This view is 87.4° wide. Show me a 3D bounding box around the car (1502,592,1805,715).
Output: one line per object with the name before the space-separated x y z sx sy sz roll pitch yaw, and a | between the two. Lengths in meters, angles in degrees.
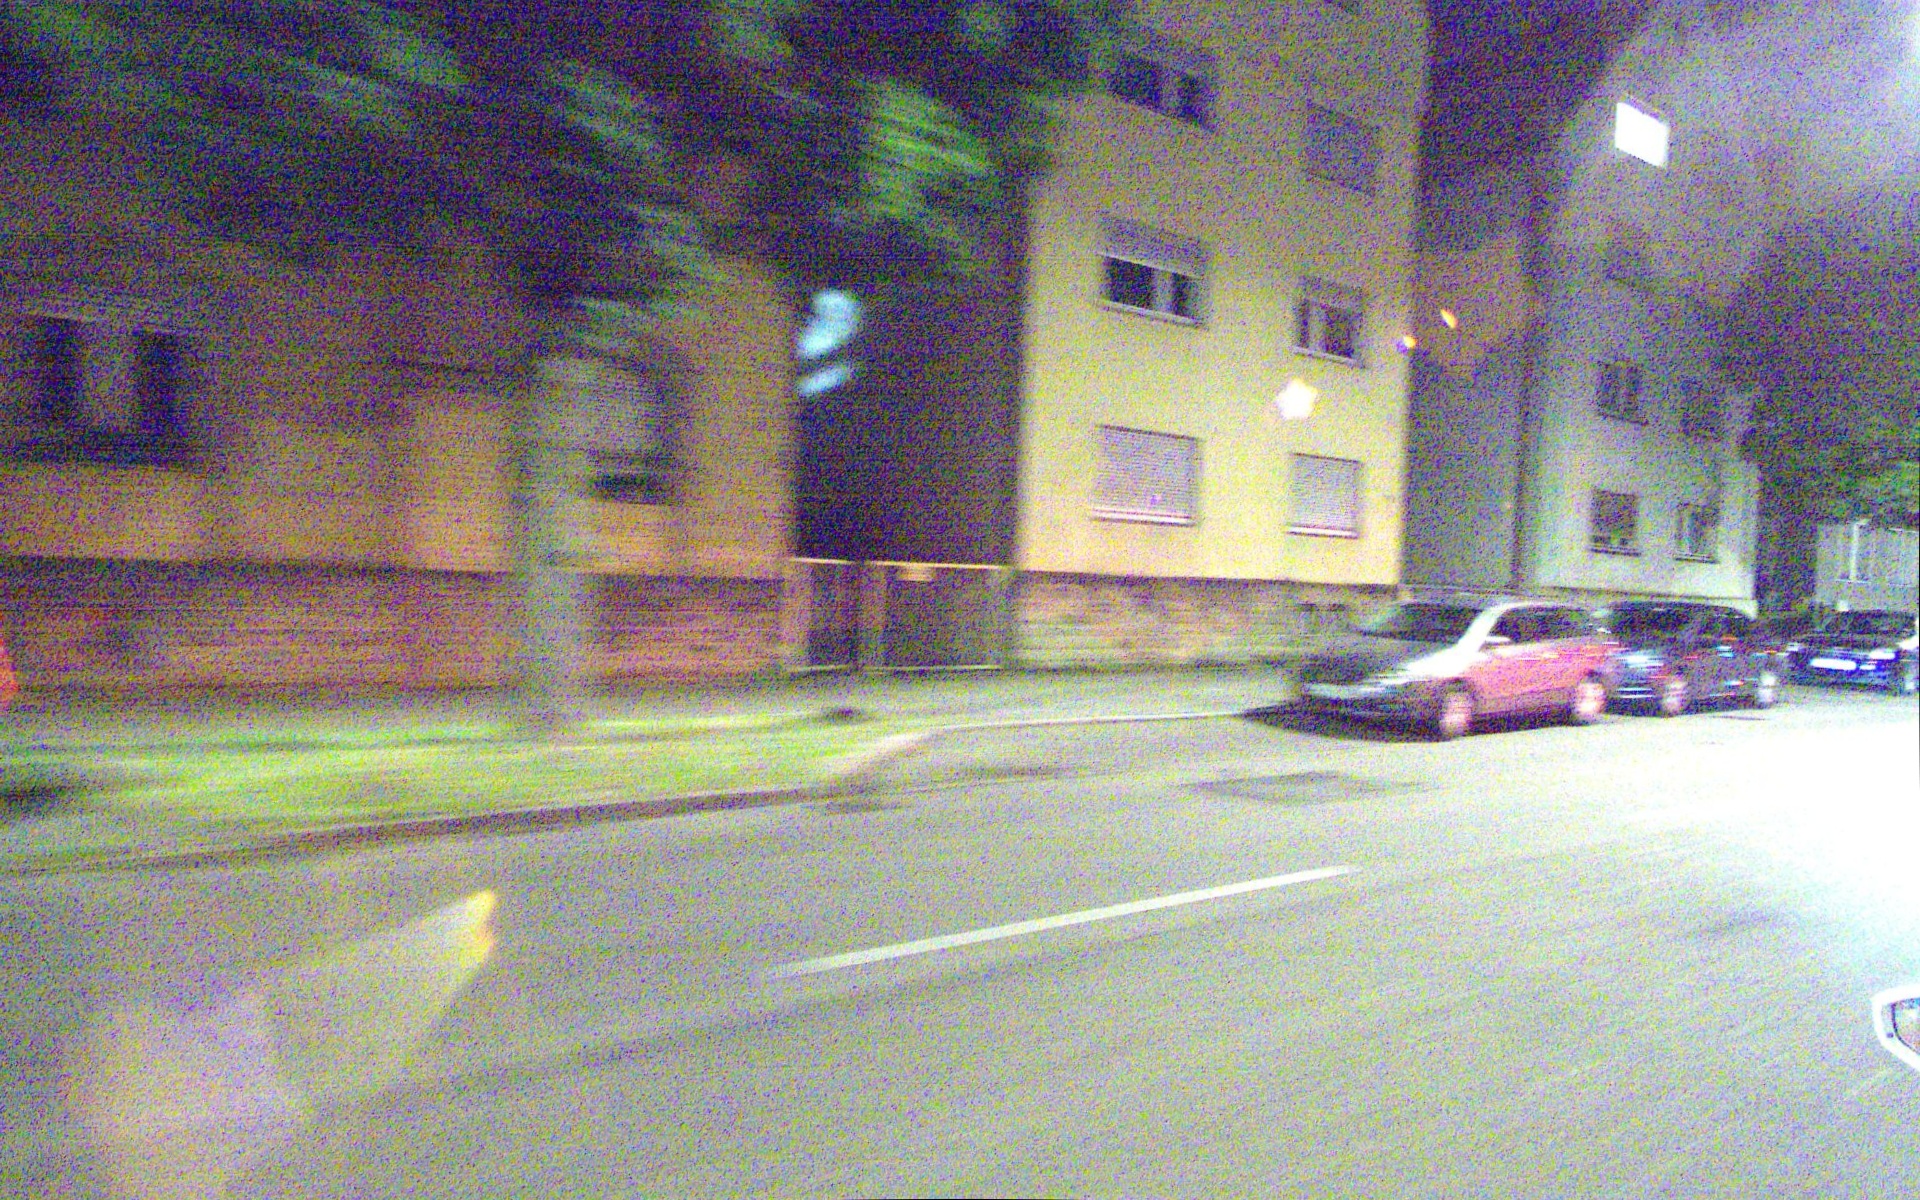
car | 10.046 0.702 14.449 4.808 1.505 1.759 1 1 -31

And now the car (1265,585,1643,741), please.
car | 5.898 0.650 11.793 4.715 1.505 1.758 1 1 -32

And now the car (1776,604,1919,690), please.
car | 17.084 0.836 18.738 4.404 1.401 1.613 1 1 -33
